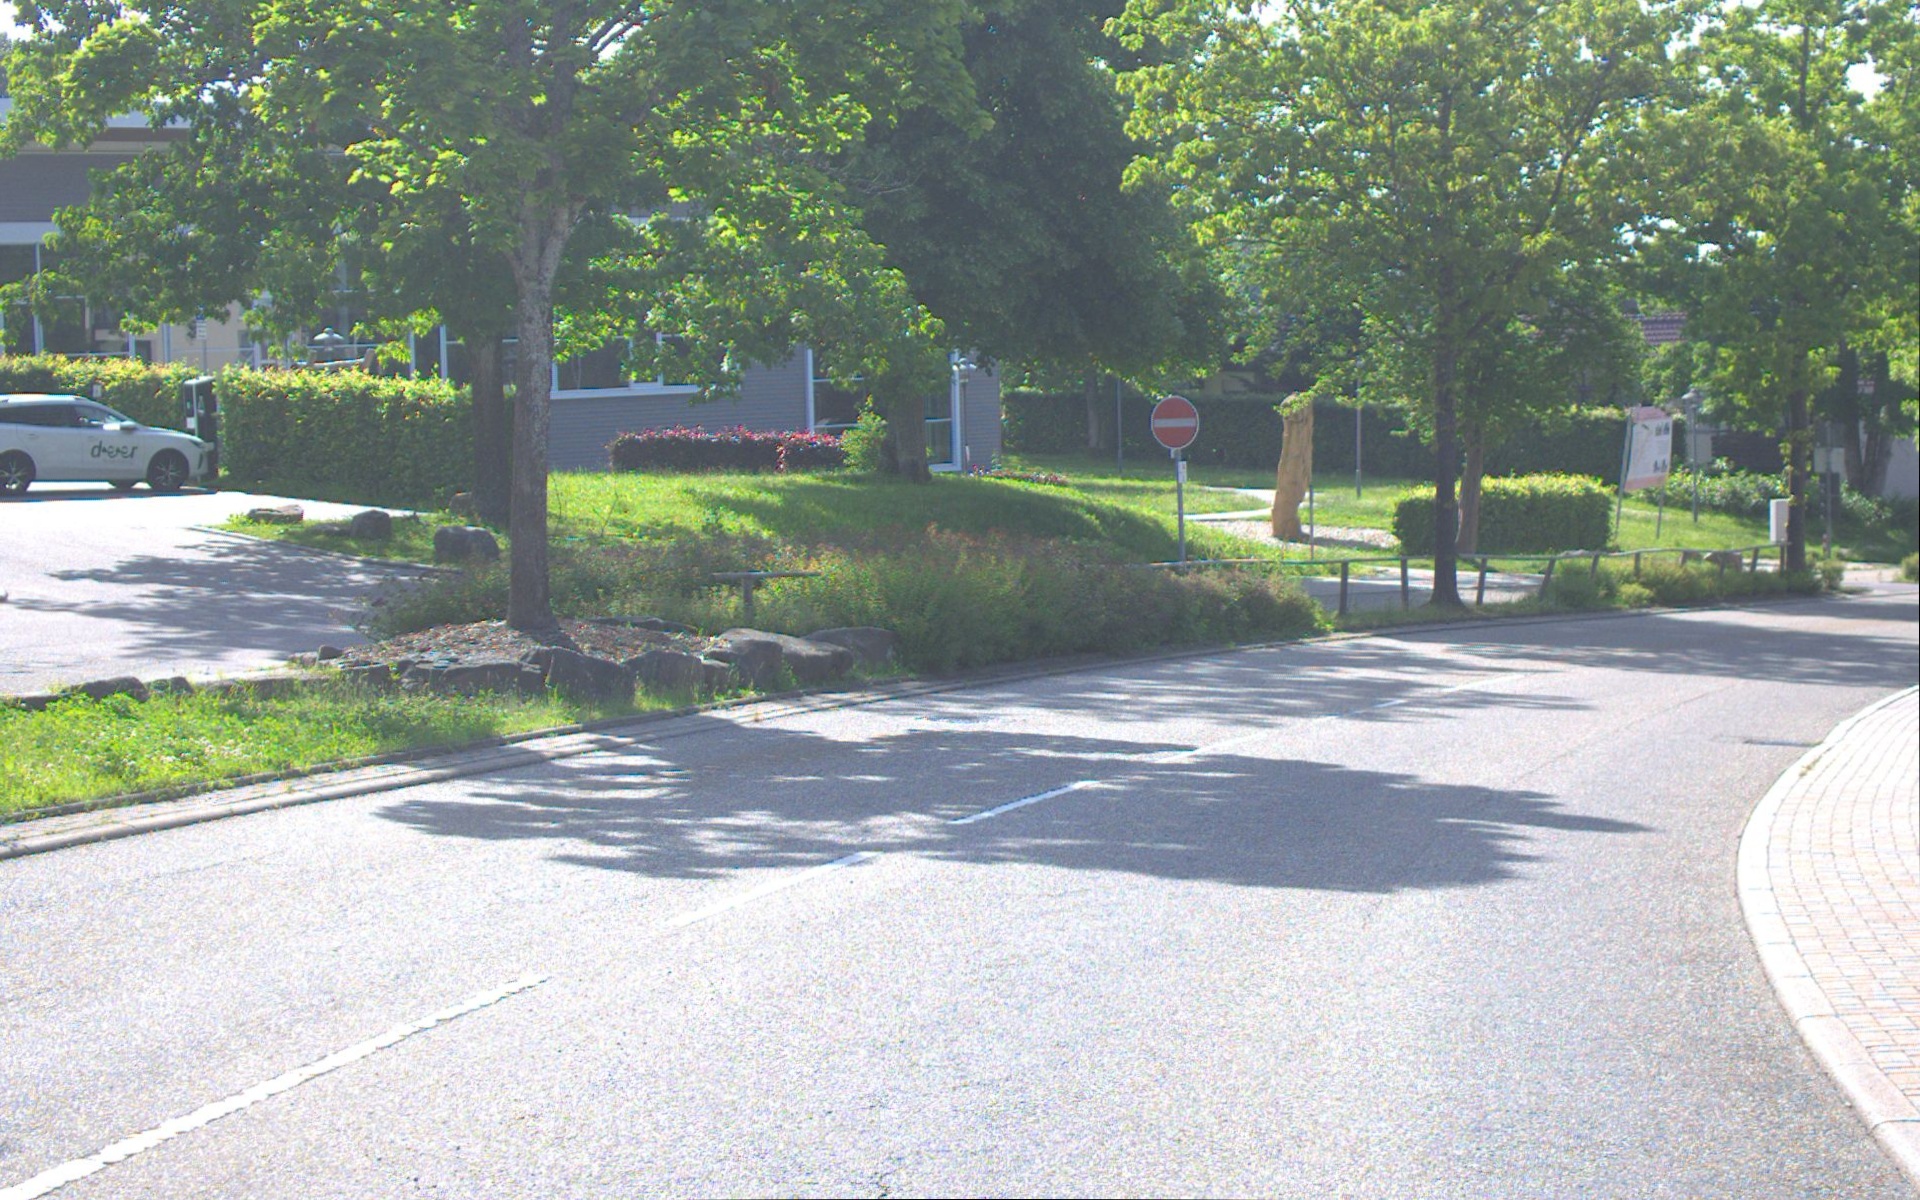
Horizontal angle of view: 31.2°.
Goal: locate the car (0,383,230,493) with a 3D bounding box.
[{"bbox_3d":[-14.411,-2.633,55.571,4.717,1.528,2.000,-4,9,-38],"label":"car"}]
